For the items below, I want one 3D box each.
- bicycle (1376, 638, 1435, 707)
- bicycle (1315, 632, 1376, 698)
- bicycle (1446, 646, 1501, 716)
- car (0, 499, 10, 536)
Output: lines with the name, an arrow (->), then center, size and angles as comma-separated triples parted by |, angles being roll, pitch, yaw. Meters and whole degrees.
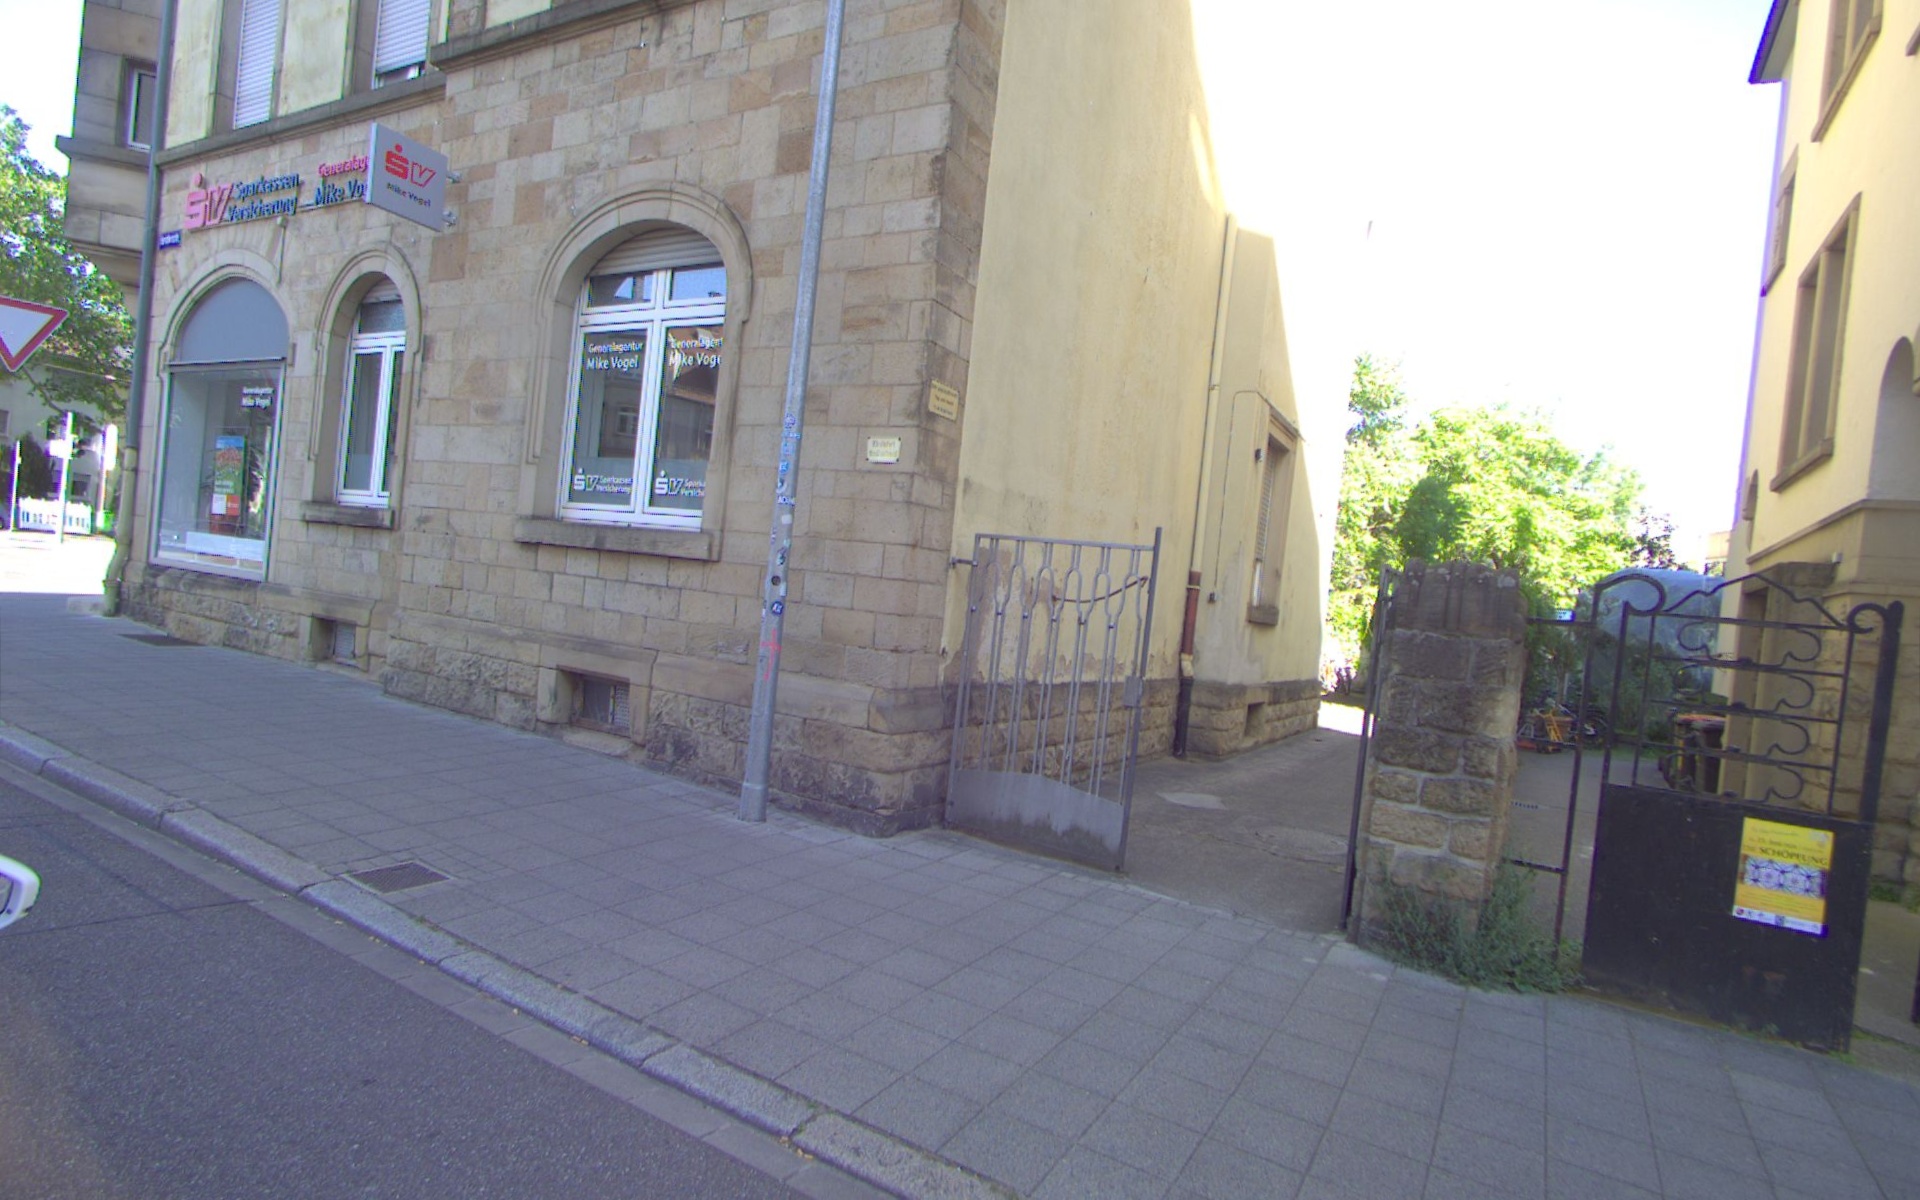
bicycle -> 11.216, 1.779, 25.255 | 0.904, 1.532, 2.667 | 6, 2, 31
bicycle -> 9.983, 1.644, 25.971 | 0.904, 1.532, 2.667 | 6, 2, 31
bicycle -> 12.601, 1.938, 24.641 | 0.904, 1.532, 2.667 | 6, 2, 31
car -> -38.724, -3.395, 37.858 | 1.615, 1.417, 3.952 | 7, 0, 18
